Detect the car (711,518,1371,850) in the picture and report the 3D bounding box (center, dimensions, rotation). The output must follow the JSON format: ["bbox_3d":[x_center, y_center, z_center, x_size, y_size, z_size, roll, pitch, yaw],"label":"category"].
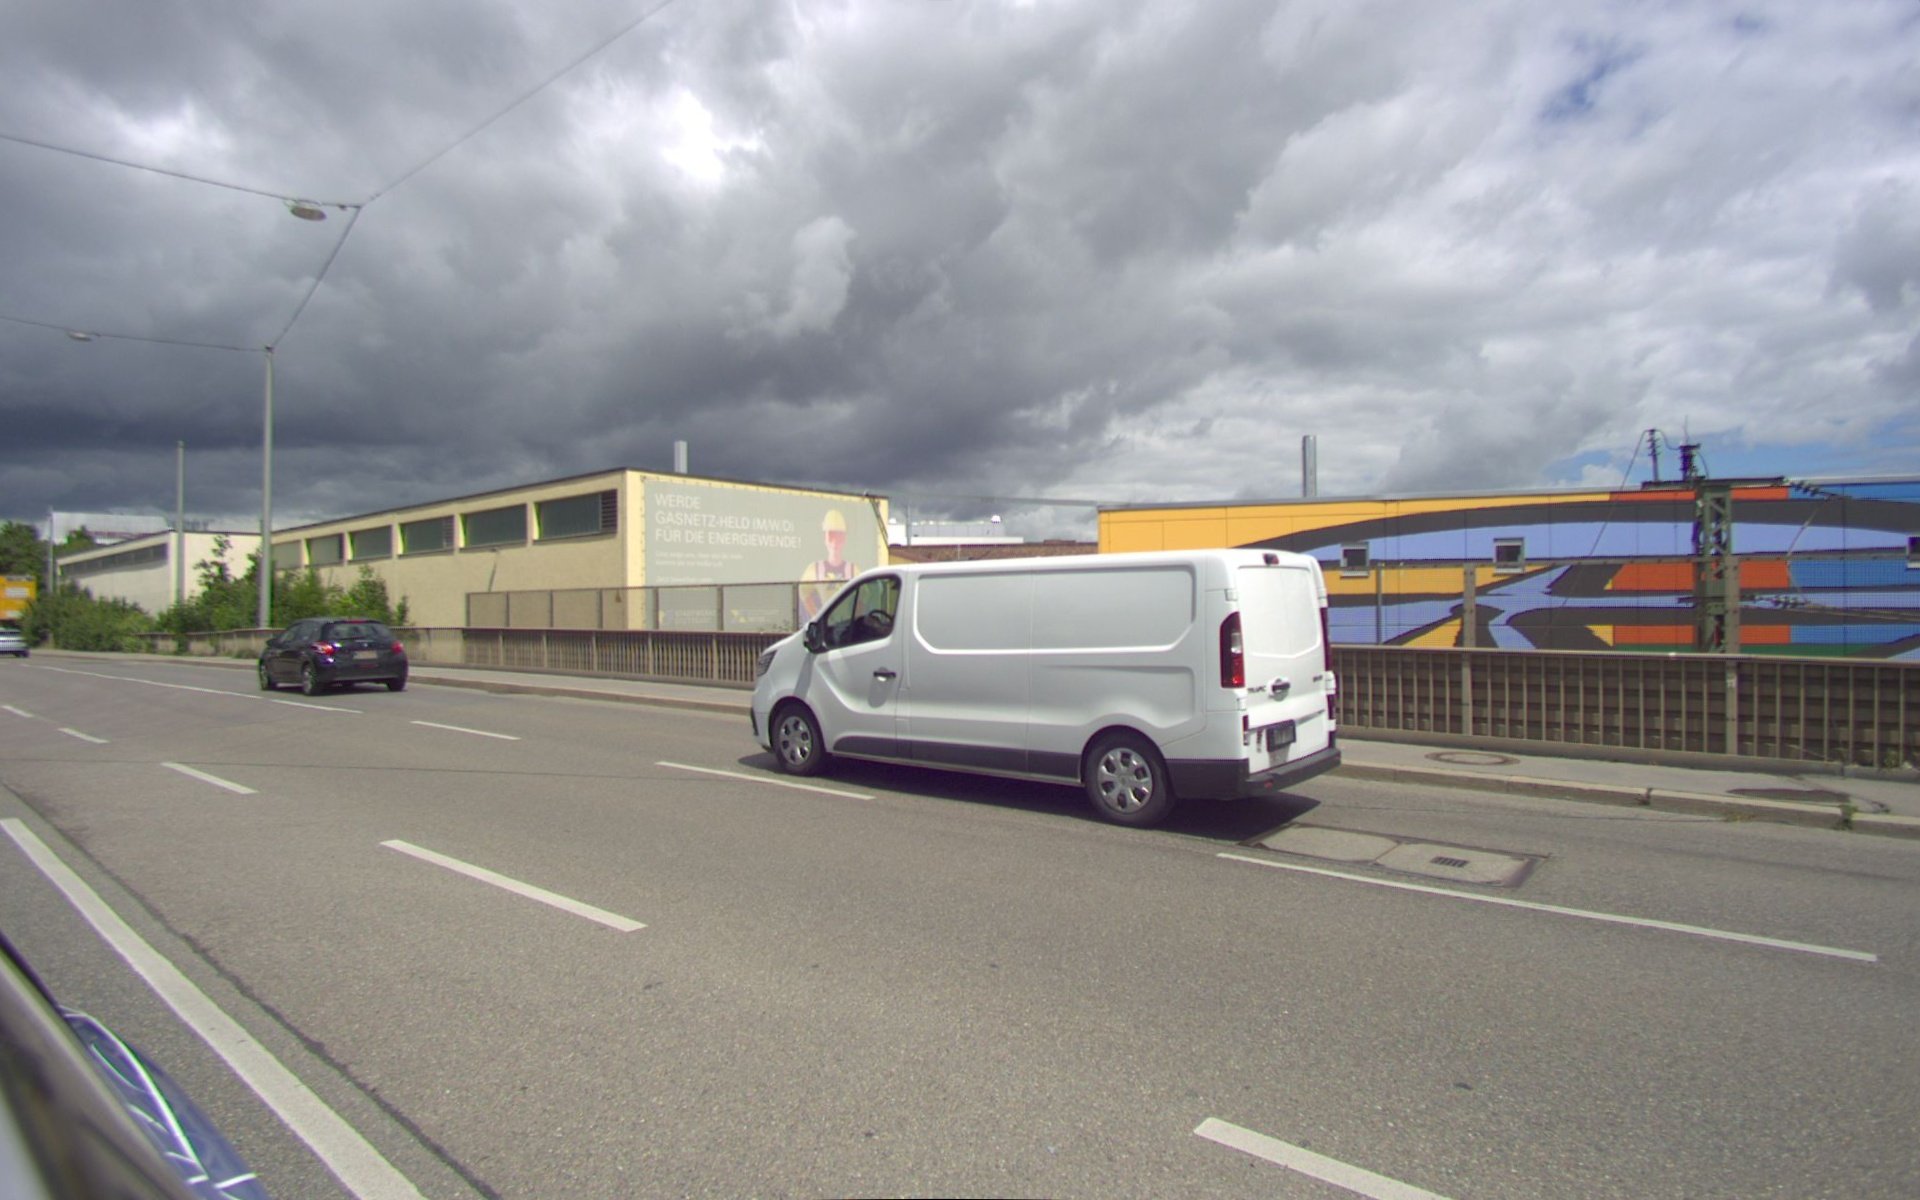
[{"bbox_3d":[0.333,0.555,8.736,5.646,2.029,1.872,-1,-1,40],"label":"car"}]

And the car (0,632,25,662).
[{"bbox_3d":[-47.999,2.318,50.383,3.795,1.423,1.592,-1,-1,39],"label":"car"}]

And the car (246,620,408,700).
[{"bbox_3d":[-12.621,1.129,20.111,3.795,1.423,1.592,-1,-1,39],"label":"car"}]
